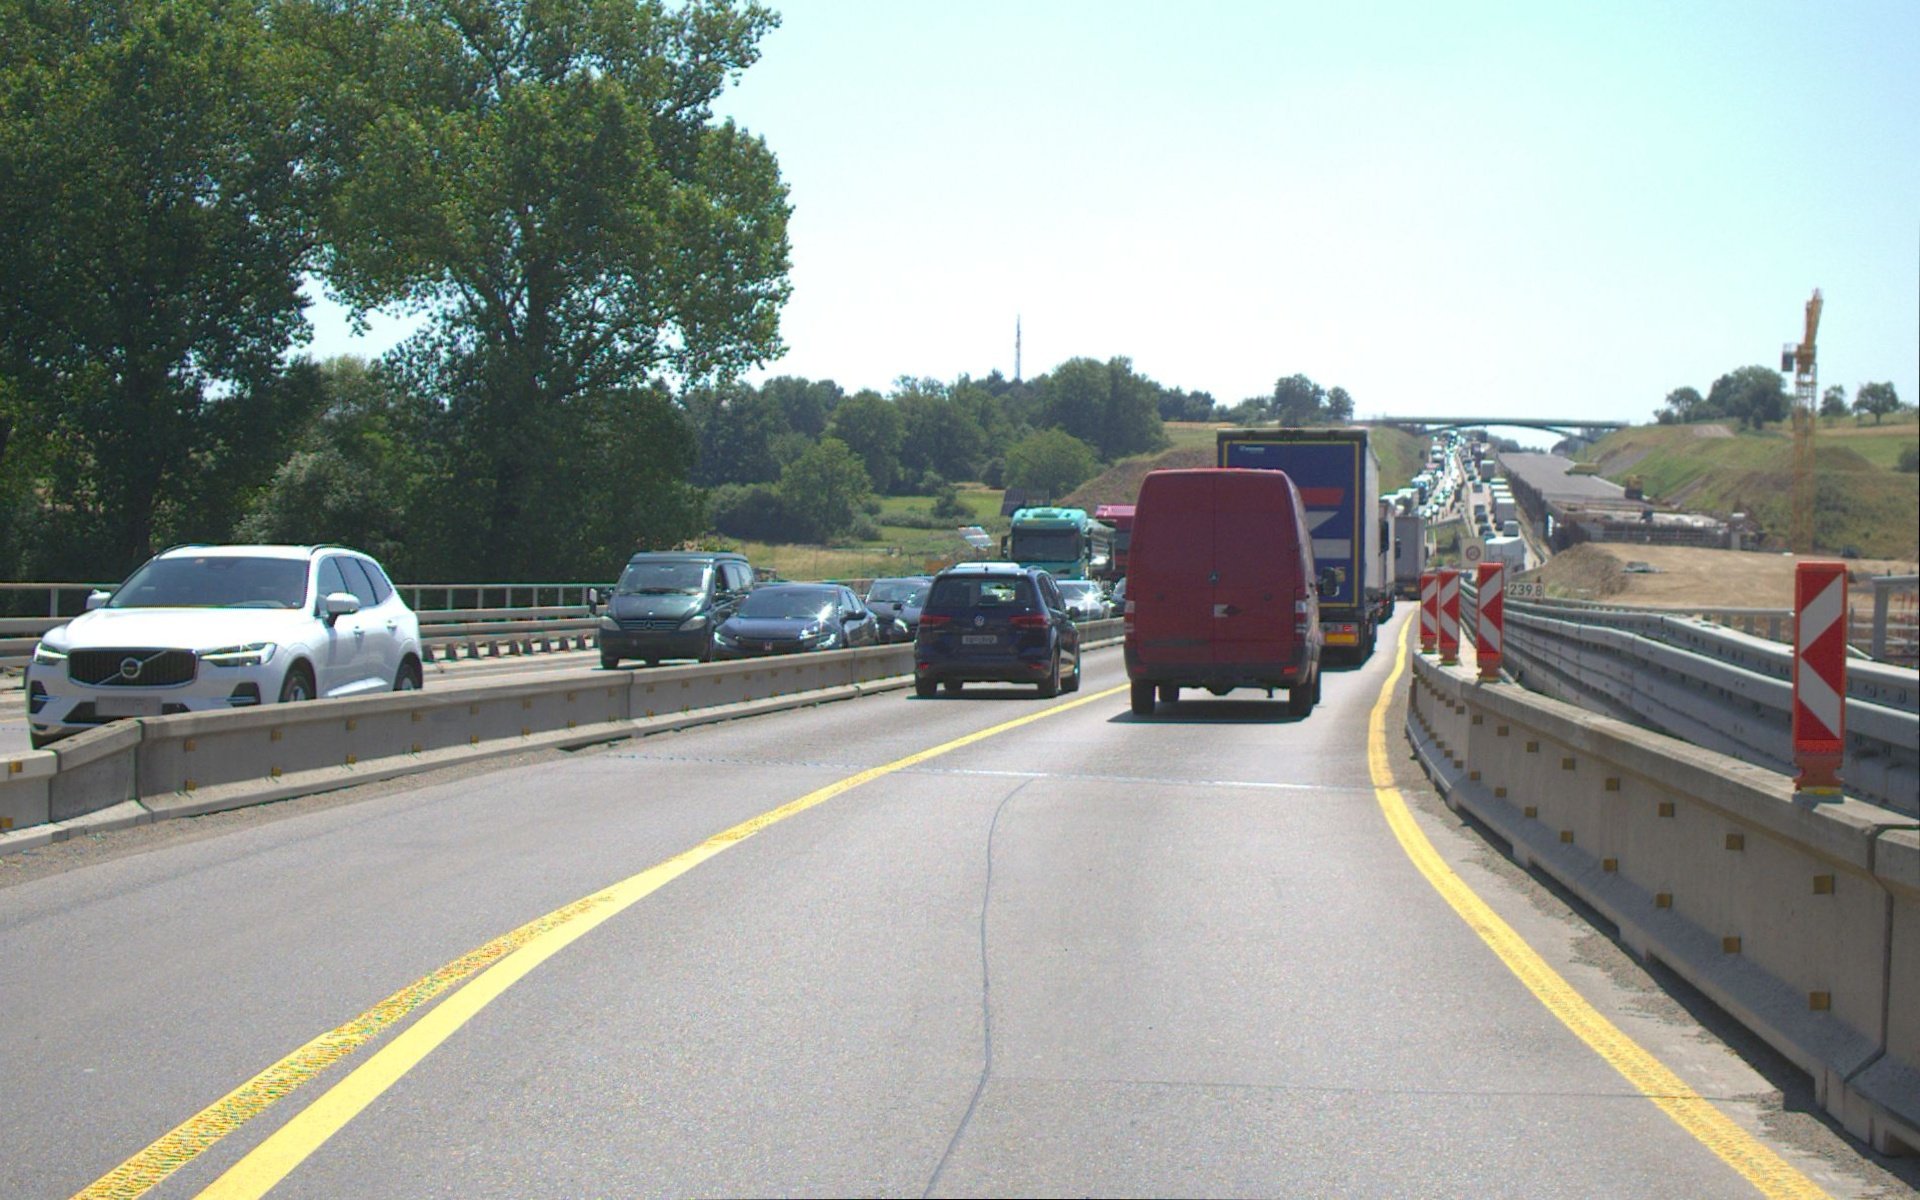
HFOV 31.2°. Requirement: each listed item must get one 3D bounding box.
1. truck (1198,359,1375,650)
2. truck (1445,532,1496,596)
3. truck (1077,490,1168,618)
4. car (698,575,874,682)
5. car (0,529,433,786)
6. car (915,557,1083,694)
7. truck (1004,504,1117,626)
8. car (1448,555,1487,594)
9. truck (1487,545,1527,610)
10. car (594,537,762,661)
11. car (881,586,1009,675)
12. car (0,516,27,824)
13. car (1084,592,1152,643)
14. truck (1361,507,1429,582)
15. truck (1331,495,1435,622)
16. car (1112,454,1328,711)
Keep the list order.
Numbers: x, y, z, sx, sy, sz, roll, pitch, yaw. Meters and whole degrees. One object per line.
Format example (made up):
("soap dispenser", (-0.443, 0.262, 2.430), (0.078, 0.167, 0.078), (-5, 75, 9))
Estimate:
("truck", (5.920, -1.650, 62.150), (2.945, 4.929, 6.740), (1, 0, 6))
("truck", (25.961, -1.826, 175.083), (2.292, 3.185, 6.481), (1, 1, 6))
("truck", (6.710, -1.824, 140.272), (2.809, 4.922, 12.131), (2, 1, 7))
("car", (-2.346, 0.365, 47.513), (1.669, 1.360, 4.439), (2, 1, 7))
("car", (-5.474, 0.344, 25.800), (1.821, 1.641, 4.569), (2, 2, 7))
("car", (0.554, 0.287, 44.340), (1.734, 1.630, 4.388), (1, 1, 6))
("truck", (3.593, -1.204, 119.219), (2.809, 3.950, 12.131), (2, 1, 7))
("car", (22.912, -1.132, 155.332), (1.618, 1.694, 3.888), (2, 1, 7))
("truck", (35.072, -1.419, 220.454), (2.292, 3.726, 6.479), (1, -3, 7))
("car", (-4.681, -0.031, 57.850), (1.821, 1.936, 5.063), (2, 1, 7))
("car", (-0.233, 0.527, 62.636), (1.757, 1.491, 4.439), (2, 1, 7))
("car", (-6.277, 0.386, 16.352), (1.881, 1.641, 4.714), (2, 1, 7))
("car", (4.946, 0.538, 107.300), (1.821, 1.491, 4.133), (2, 1, 7))
("truck", (21.166, -2.651, 167.390), (3.184, 2.967, 8.895), (1, -3, 7))
("truck", (13.823, -1.323, 111.905), (3.183, 3.976, 6.739), (1, 0, 8))
("car", (2.909, -0.121, 38.440), (2.150, 2.602, 5.437), (2, -1, 5))
